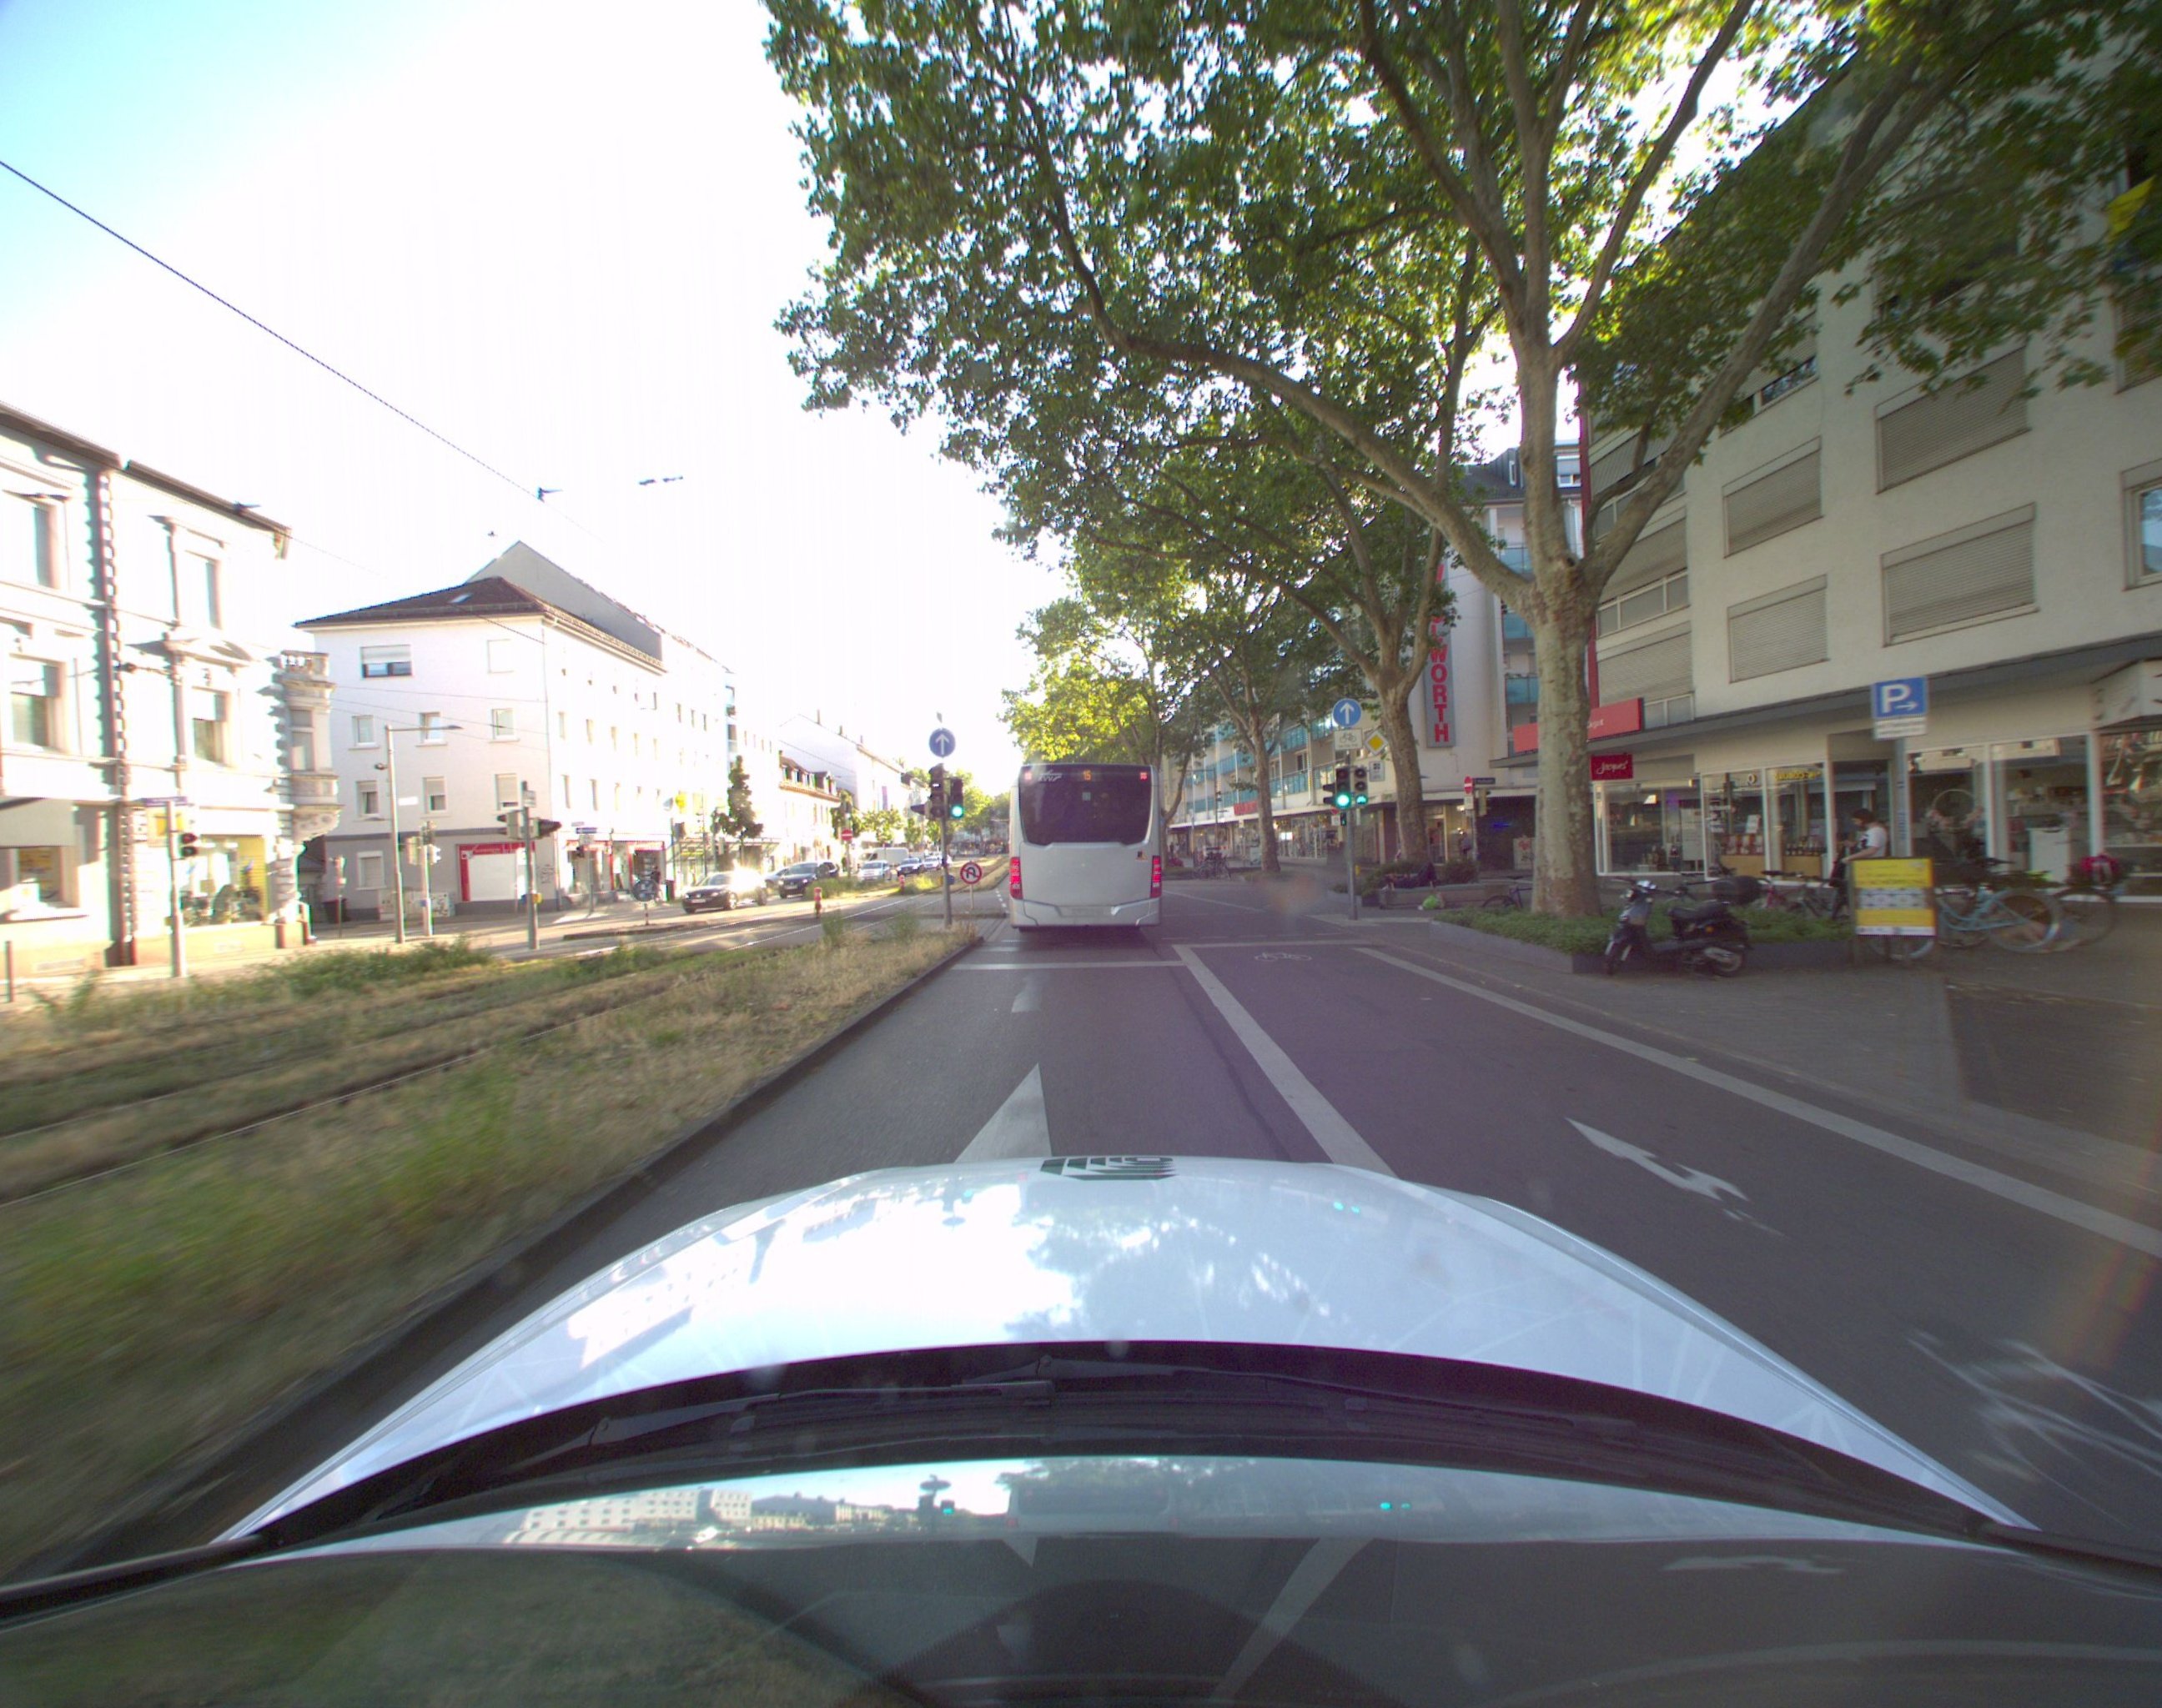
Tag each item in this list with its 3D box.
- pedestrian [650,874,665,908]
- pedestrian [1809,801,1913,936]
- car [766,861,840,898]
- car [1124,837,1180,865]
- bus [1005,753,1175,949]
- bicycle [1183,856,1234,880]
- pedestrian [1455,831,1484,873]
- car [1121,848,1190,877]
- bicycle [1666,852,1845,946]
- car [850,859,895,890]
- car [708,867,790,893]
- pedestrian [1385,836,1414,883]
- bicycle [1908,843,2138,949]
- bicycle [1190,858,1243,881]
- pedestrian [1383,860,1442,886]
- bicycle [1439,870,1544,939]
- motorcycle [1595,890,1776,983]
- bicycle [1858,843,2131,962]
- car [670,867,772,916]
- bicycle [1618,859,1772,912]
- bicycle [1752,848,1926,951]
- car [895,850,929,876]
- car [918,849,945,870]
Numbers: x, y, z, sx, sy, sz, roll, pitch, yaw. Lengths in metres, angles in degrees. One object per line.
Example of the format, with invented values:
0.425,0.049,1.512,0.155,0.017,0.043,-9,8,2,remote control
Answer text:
-21.594,1.875,41.528,0.424,1.713,0.509,-2,-1,5,pedestrian
11.374,0.197,11.899,0.643,1.876,0.821,-2,0,-12,pedestrian
-13.649,1.214,40.296,1.773,1.615,4.513,-3,0,4,car
5.525,-0.228,63.248,4.020,1.969,1.977,-2,0,-39,car
0.094,-0.067,16.622,2.670,3.083,7.111,-1,0,-1,bus
6.190,0.678,39.672,2.308,1.028,0.835,-2,1,-7,bicycle
16.301,-0.090,34.165,0.746,1.679,0.834,-2,2,-5,pedestrian
4.482,0.507,48.399,1.975,1.530,4.024,-3,0,44,car
9.940,0.653,12.070,1.865,1.189,0.713,-5,-1,9,bicycle
-13.531,1.294,53.096,1.892,1.804,3.998,-2,0,-1,car
-21.390,1.675,52.582,4.571,1.412,1.978,-2,0,-35,car
12.345,0.206,31.603,0.777,1.794,0.764,-2,0,1,pedestrian
11.445,0.501,9.952,1.753,1.154,0.680,-4,0,10,bicycle
6.380,0.712,38.480,2.308,0.939,0.835,-2,1,-7,bicycle
8.072,0.464,19.845,1.250,0.589,0.482,-1,0,-1,pedestrian
6.898,0.843,13.716,1.503,1.105,0.460,1,0,1,bicycle
6.592,0.887,8.917,1.566,0.892,0.544,-3,0,-2,motorcycle
10.649,0.551,9.571,2.070,1.233,0.833,-3,0,6,bicycle
-13.623,1.377,31.081,1.773,1.450,4.048,-4,1,3,car
9.905,0.509,13.198,1.865,0.765,0.713,-2,0,9,bicycle
10.273,0.605,11.068,1.784,1.189,0.670,-5,-1,-7,bicycle
-14.047,0.719,68.080,1.988,2.013,3.998,-2,0,-1,car
-15.243,0.584,83.395,1.988,2.013,3.998,-2,0,-1,car
